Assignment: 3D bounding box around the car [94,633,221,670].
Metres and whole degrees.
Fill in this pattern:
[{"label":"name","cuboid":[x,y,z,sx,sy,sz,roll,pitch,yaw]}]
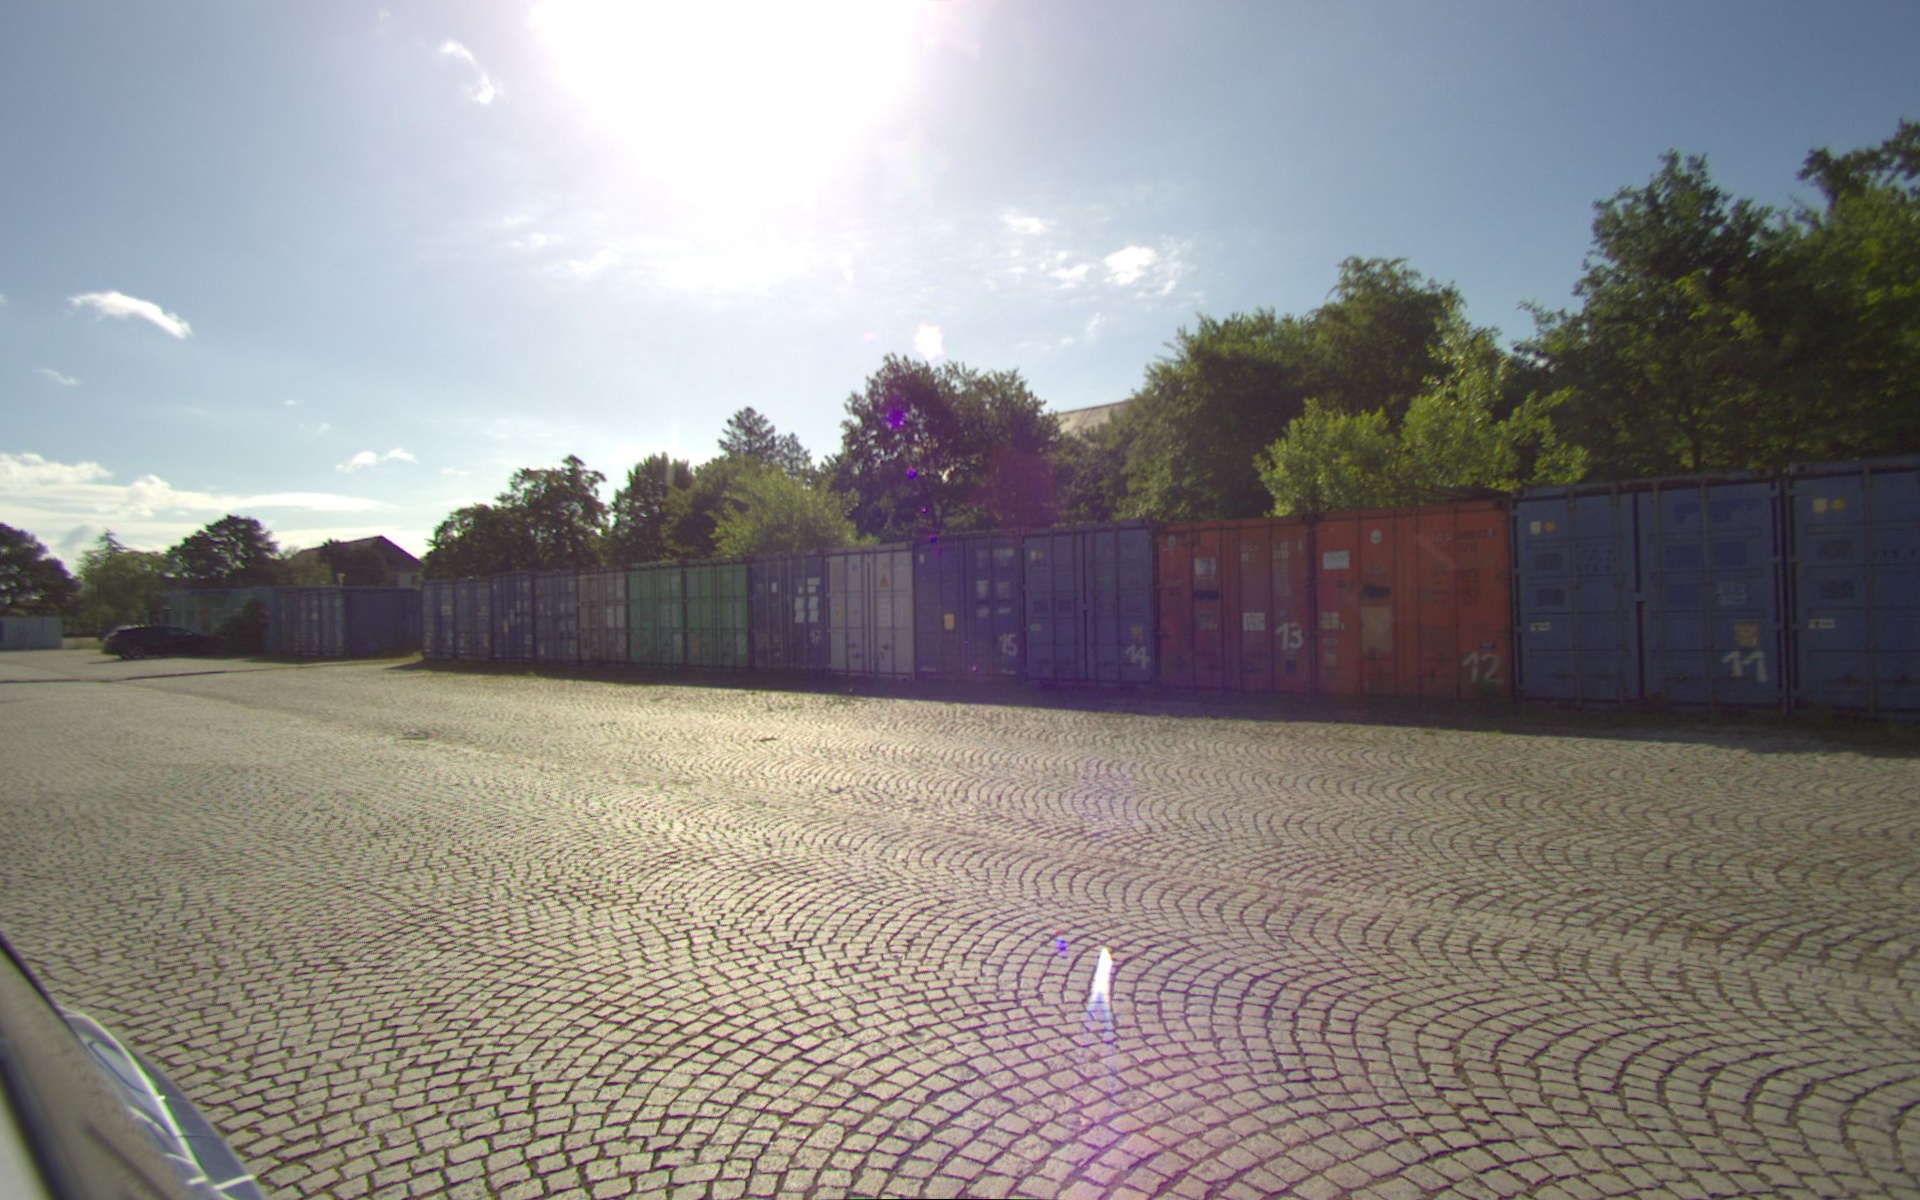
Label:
[{"label":"car","cuboid":[-35.627,2.270,45.009,1.998,1.306,4.062,-2,1,39]}]
